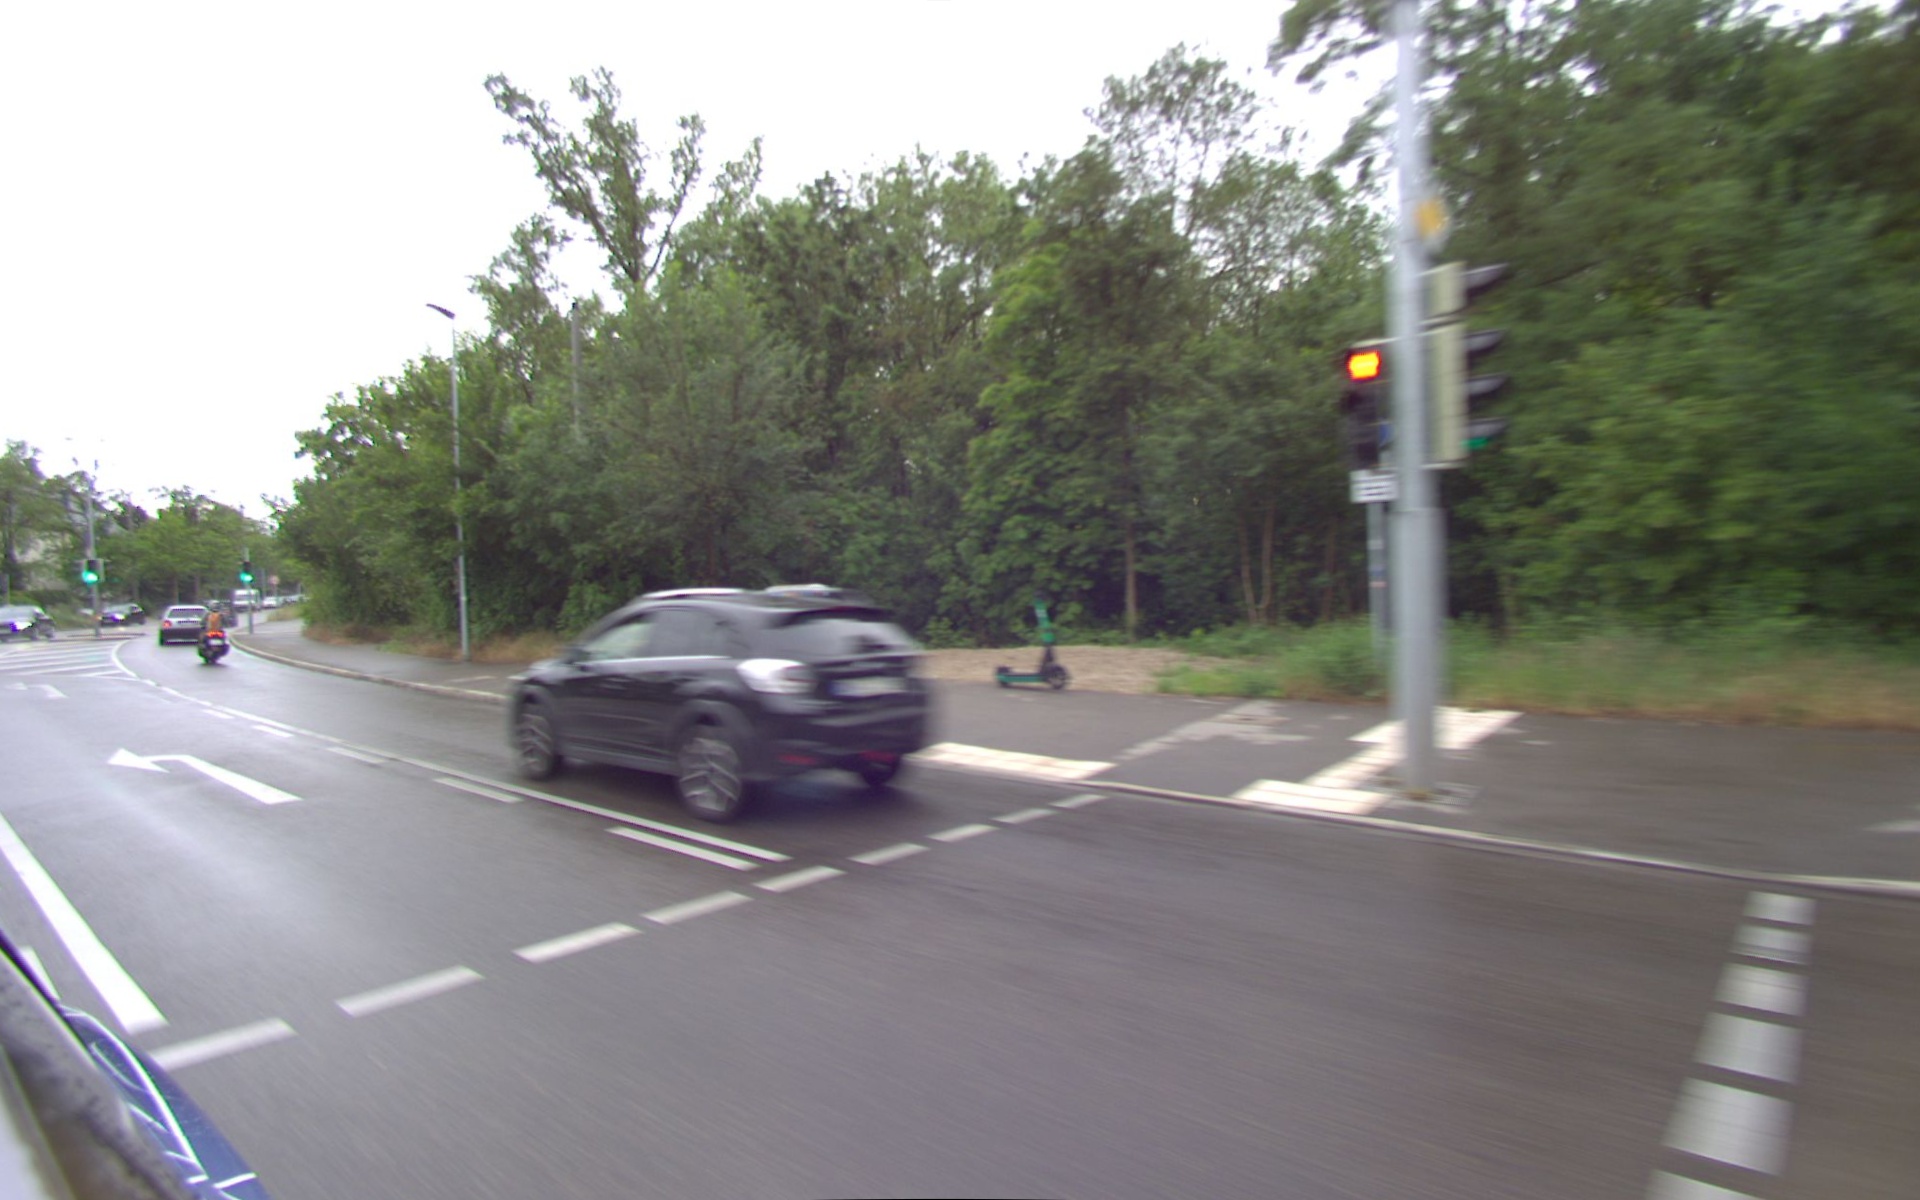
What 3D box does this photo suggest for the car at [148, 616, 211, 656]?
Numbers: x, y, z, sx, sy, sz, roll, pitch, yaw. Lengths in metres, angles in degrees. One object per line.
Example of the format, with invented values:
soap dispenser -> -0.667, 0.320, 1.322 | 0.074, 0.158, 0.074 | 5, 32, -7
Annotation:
car -> -28.866, 1.290, 37.403 | 1.719, 1.362, 4.217 | -1, 0, -39

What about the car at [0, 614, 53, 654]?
car -> -38.930, 1.380, 41.529 | 1.914, 1.466, 4.616 | -1, 1, -34

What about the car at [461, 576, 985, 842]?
car -> -2.133, 0.670, 8.216 | 4.558, 1.593, 1.771 | -1, 0, 40

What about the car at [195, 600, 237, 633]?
car -> -40.967, 0.885, 55.765 | 1.554, 1.744, 3.785 | -1, 0, -32

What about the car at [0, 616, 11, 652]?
car -> -45.151, 1.614, 45.909 | 1.913, 1.615, 4.618 | -1, 1, -29

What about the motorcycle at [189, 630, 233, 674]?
motorcycle -> -19.200, 1.306, 25.924 | 1.999, 1.058, 0.587 | -1, 0, 44

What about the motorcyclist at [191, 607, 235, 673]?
motorcyclist -> -19.109, 1.014, 25.885 | 0.927, 1.644, 0.737 | -1, 0, 43

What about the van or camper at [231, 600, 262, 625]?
van or camper -> -77.617, 1.315, 110.111 | 1.966, 2.471, 4.737 | -3, 2, -26

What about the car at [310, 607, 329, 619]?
car -> -77.008, 1.525, 121.660 | 1.913, 1.386, 4.617 | -1, 1, -32

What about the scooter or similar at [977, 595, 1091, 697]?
scooter or similar -> 0.934, 0.559, 12.994 | 0.511, 1.221, 1.470 | -3, 1, -43

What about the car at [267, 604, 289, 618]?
car -> -86.307, 1.346, 128.083 | 1.913, 1.615, 4.618 | -1, 1, -29

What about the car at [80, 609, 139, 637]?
car -> -53.199, 1.425, 63.366 | 1.913, 1.615, 4.618 | -1, 1, -29
